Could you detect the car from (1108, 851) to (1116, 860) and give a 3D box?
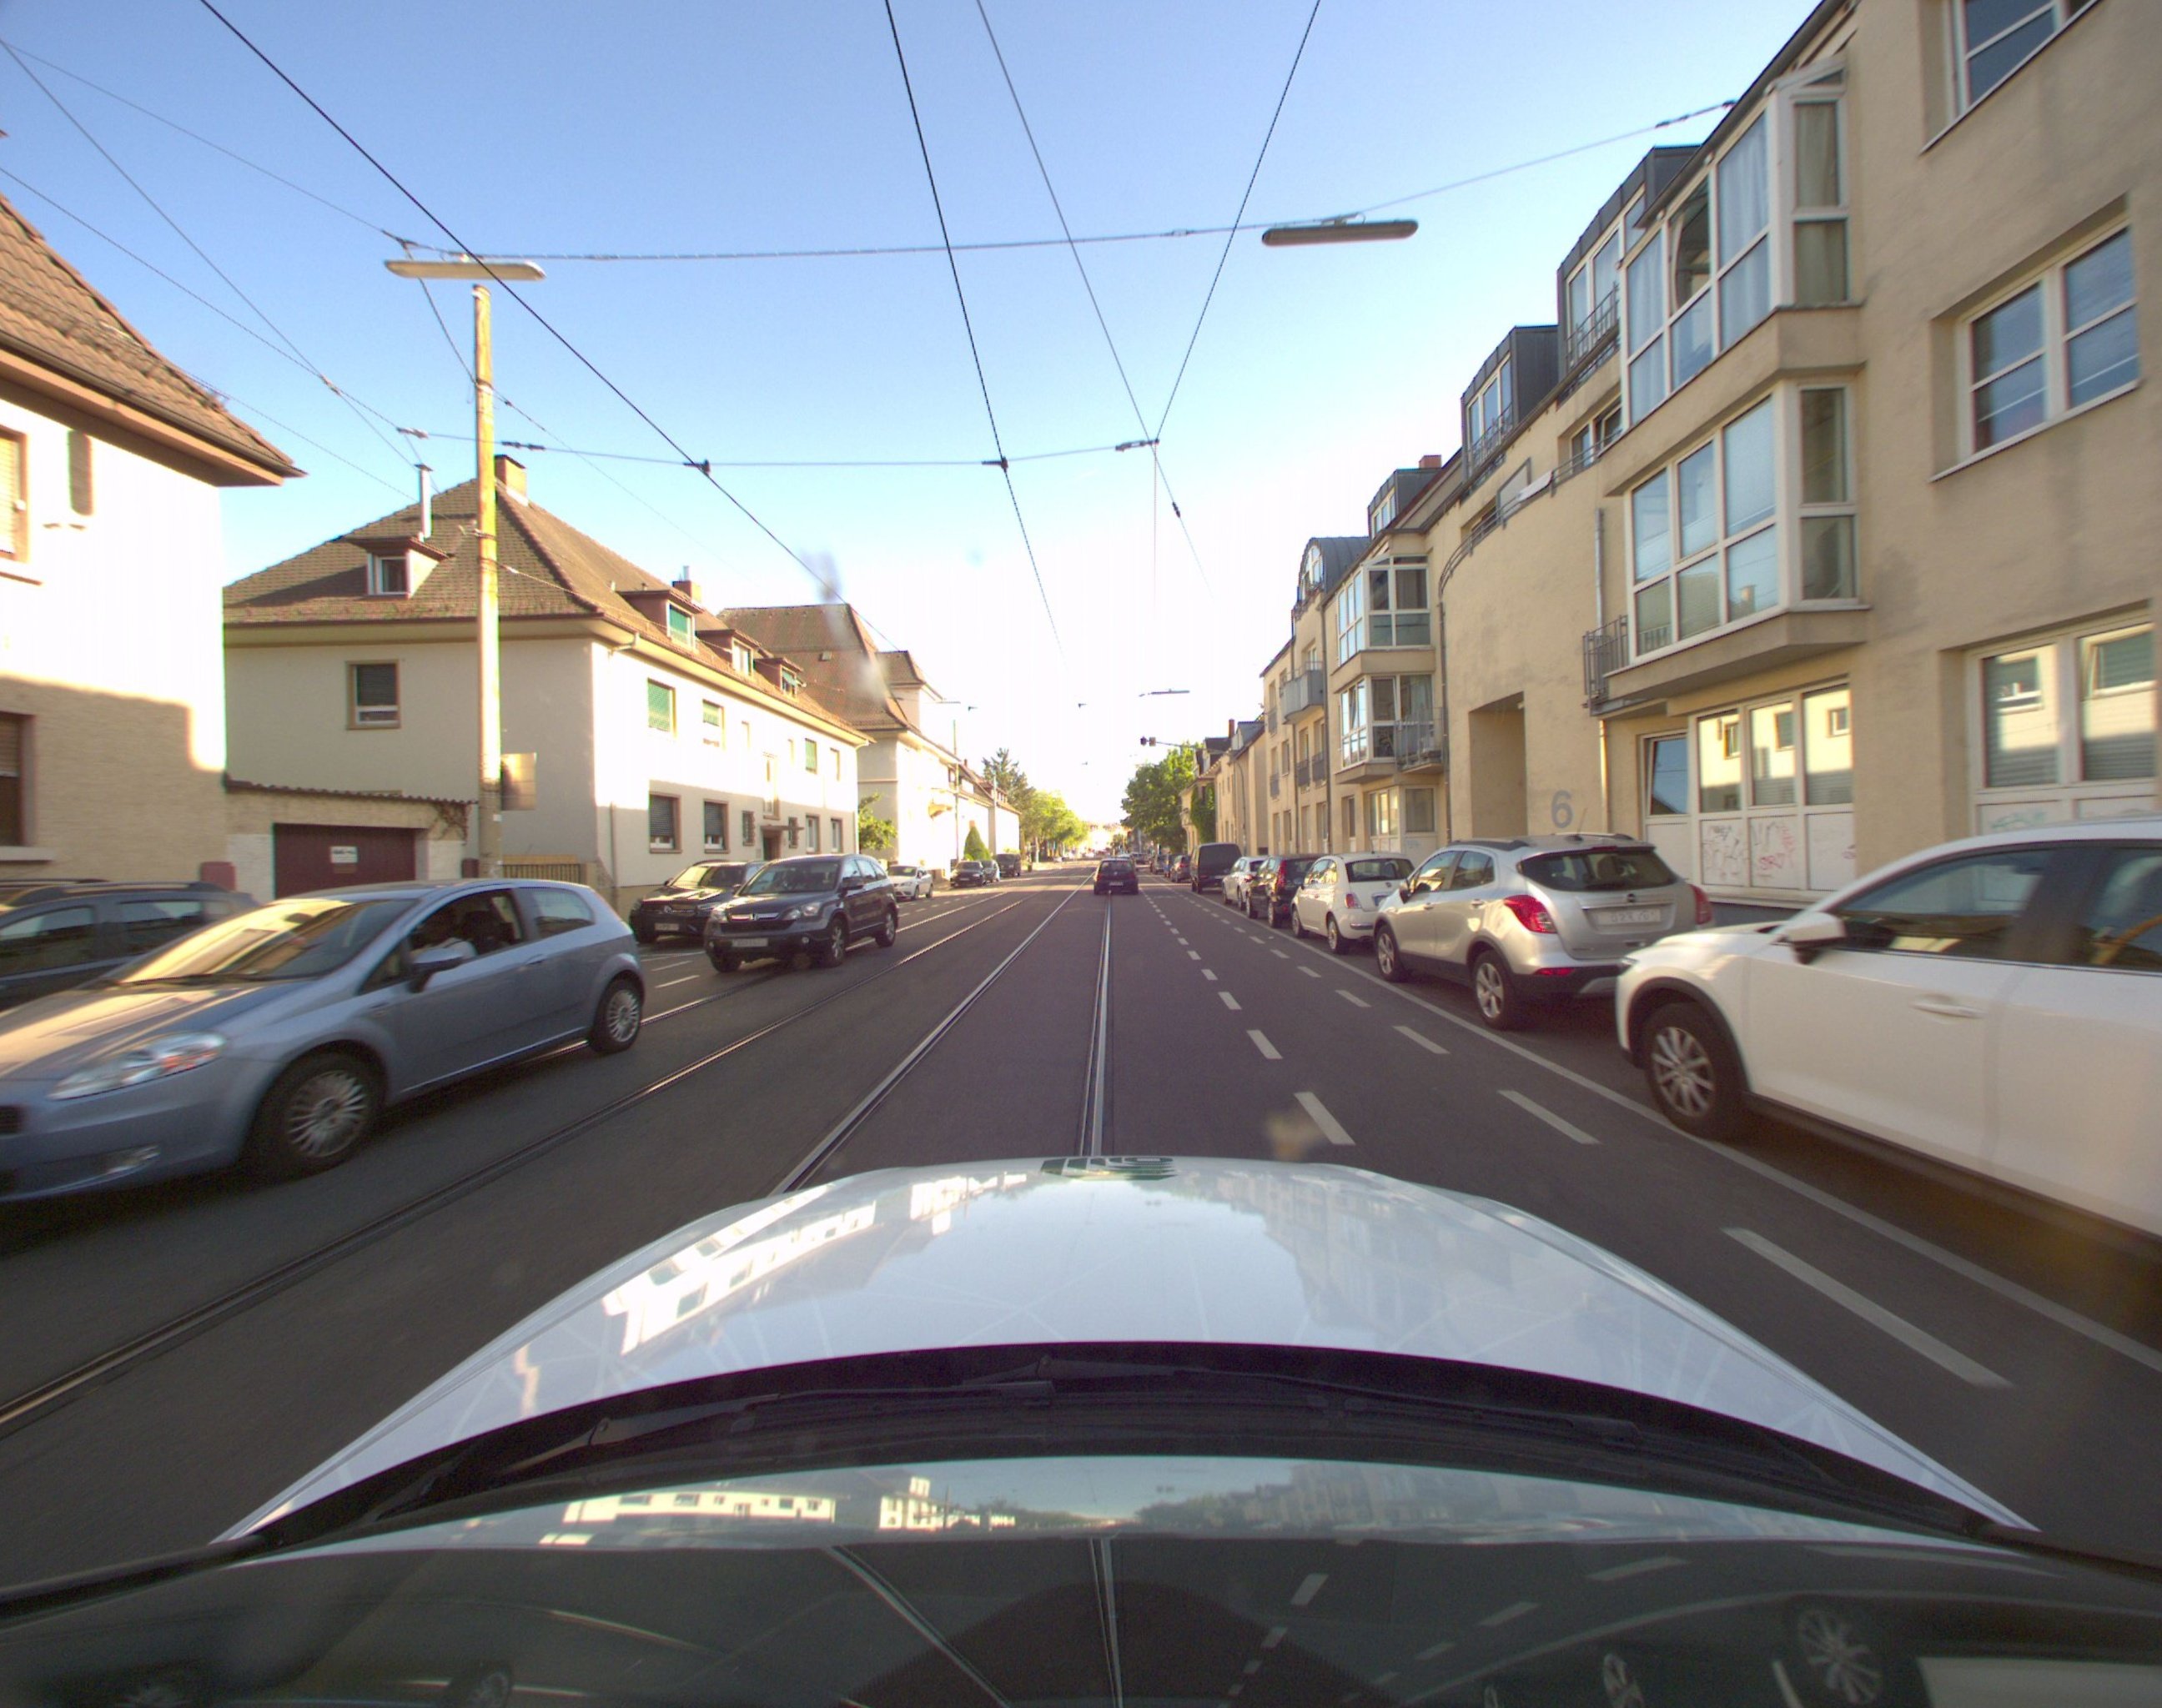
[{"bbox_3d":[6.719,0.346,176.741,1.781,1.860,4.000,1,0,0],"label":"car"}]

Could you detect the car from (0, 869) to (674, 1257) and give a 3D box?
[{"bbox_3d":[-4.578,0.898,5.294,1.611,1.461,4.077,-3,0,2],"label":"car"}]

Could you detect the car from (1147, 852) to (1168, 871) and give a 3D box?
[{"bbox_3d":[6.660,0.663,71.040,1.659,1.564,3.773,0,0,2],"label":"car"}]

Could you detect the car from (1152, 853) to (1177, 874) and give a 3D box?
[{"bbox_3d":[6.365,0.696,62.338,1.596,1.525,3.549,0,0,0],"label":"car"}]

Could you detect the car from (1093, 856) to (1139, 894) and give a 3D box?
[{"bbox_3d":[1.393,0.782,32.389,1.709,1.402,4.008,0,0,2],"label":"car"}]

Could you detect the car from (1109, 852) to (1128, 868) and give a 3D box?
[{"bbox_3d":[3.387,0.525,72.779,1.628,1.372,3.760,-2,0,3],"label":"car"}]

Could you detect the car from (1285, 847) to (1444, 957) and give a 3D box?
[{"bbox_3d":[4.452,0.676,13.264,1.491,1.557,3.366,0,0,1],"label":"car"}]

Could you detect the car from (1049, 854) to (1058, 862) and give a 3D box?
[{"bbox_3d":[-5.319,0.853,159.416,1.572,1.477,3.436,-2,0,-4],"label":"car"}]

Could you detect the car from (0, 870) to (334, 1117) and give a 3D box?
[{"bbox_3d":[-8.139,1.006,5.957,1.610,1.627,3.922,-3,0,1],"label":"car"}]

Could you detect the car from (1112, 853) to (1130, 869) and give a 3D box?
[{"bbox_3d":[4.027,0.671,81.632,1.733,1.441,3.812,-2,0,2],"label":"car"}]

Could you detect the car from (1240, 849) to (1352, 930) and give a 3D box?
[{"bbox_3d":[4.534,0.684,17.646,1.548,1.557,3.653,0,0,1],"label":"car"}]

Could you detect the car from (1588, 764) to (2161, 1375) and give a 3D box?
[{"bbox_3d":[3.987,0.615,3.004,1.732,1.746,4.258,0,0,2],"label":"car"}]

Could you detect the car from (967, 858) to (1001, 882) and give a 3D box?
[{"bbox_3d":[-6.418,1.040,54.272,1.670,1.477,3.837,0,0,2],"label":"car"}]

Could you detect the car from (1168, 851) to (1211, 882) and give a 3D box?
[{"bbox_3d":[5.826,0.633,44.132,1.738,1.599,4.433,0,0,0],"label":"car"}]

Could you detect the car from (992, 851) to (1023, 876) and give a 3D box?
[{"bbox_3d":[-6.134,0.786,68.269,1.898,2.014,4.953,0,0,3],"label":"car"}]

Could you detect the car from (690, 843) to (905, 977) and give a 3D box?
[{"bbox_3d":[-4.263,0.751,13.069,1.697,1.704,4.366,-3,0,2],"label":"car"}]

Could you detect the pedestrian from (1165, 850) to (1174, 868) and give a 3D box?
[{"bbox_3d":[8.369,0.479,77.060,0.715,1.688,0.870,-3,0,1],"label":"pedestrian"}]

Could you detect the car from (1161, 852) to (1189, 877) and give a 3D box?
[{"bbox_3d":[6.207,0.654,53.927,1.452,1.599,3.294,0,0,0],"label":"car"}]

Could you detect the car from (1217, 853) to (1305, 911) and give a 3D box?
[{"bbox_3d":[4.979,0.711,23.046,1.671,1.491,4.174,0,0,1],"label":"car"}]

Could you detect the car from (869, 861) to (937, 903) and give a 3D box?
[{"bbox_3d":[-7.056,1.066,32.709,1.625,1.457,4.018,-3,0,2],"label":"car"}]

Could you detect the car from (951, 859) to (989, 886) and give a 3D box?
[{"bbox_3d":[-6.438,1.039,47.593,1.658,1.477,4.248,-2,0,-2],"label":"car"}]

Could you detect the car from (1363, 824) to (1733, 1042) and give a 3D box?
[{"bbox_3d":[4.327,0.608,8.346,1.596,1.700,3.991,0,0,1],"label":"car"}]

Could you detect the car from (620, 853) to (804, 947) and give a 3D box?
[{"bbox_3d":[-7.772,0.877,17.727,1.755,1.704,4.556,-3,0,1],"label":"car"}]

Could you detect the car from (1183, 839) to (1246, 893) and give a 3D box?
[{"bbox_3d":[5.211,0.434,32.343,1.899,1.987,4.564,0,0,1],"label":"car"}]
